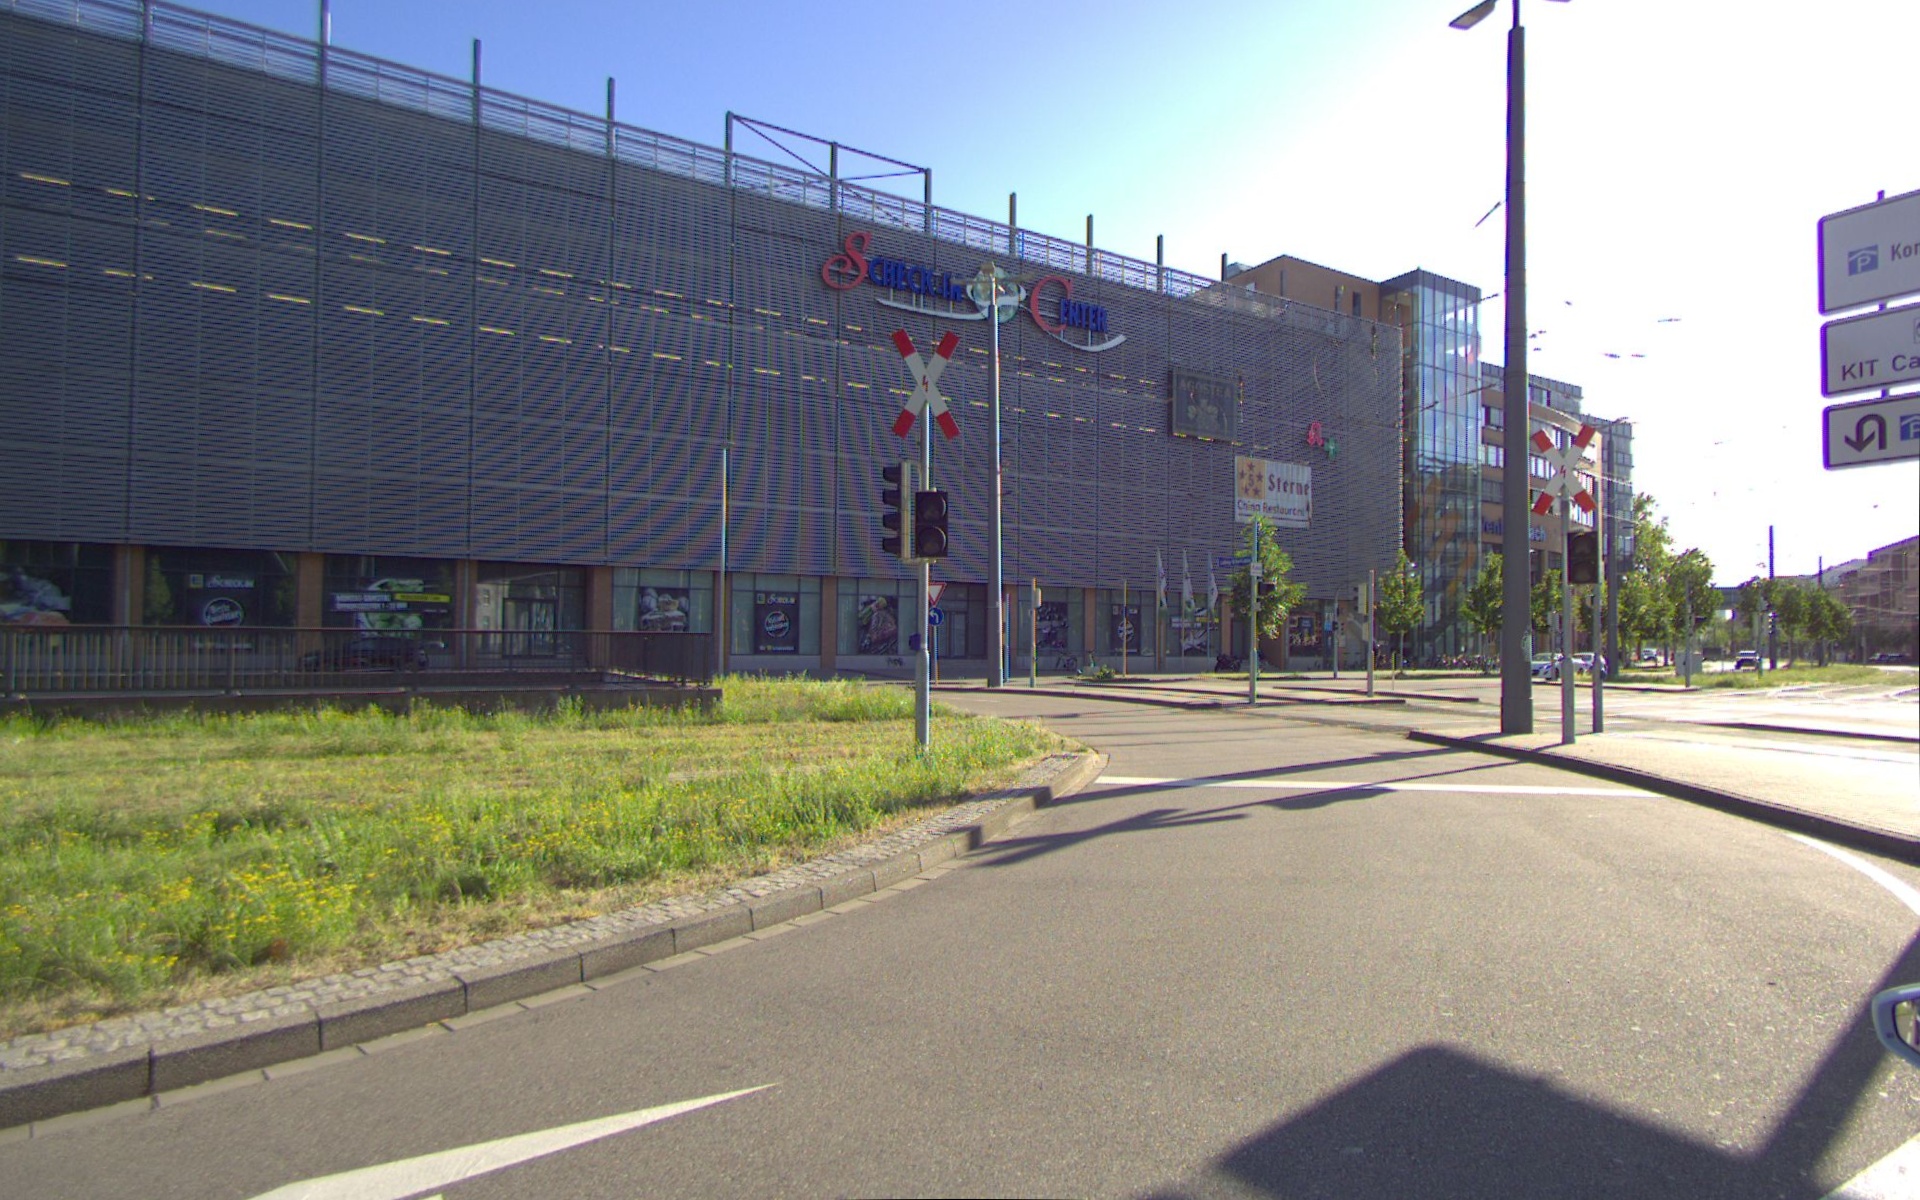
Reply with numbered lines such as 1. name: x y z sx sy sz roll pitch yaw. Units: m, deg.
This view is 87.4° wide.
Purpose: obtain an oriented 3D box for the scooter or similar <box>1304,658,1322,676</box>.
1. scooter or similar: 22.751 4.310 64.745 1.138 1.124 0.419 3 -4 -30

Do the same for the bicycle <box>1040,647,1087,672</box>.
1. bicycle: 5.431 3.110 52.511 2.384 1.236 0.797 2 -2 -27

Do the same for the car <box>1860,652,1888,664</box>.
1. car: 140.973 8.930 154.909 1.963 1.661 4.408 0 -3 26

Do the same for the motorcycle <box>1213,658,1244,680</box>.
1. motorcycle: 15.787 4.050 59.024 1.872 1.254 0.672 3 -4 -31

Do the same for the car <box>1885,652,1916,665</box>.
1. car: 127.834 7.928 136.548 3.951 1.728 1.986 3 -4 -28

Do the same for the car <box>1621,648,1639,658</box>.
1. car: 131.309 10.398 196.829 1.961 2.040 4.000 -1 -3 21

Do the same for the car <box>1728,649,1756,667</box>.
1. car: 73.216 5.416 93.990 1.970 1.661 4.392 -1 -3 39

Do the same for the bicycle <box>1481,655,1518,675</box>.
1. bicycle: 41.835 5.038 77.873 0.891 1.452 2.558 2 -3 -21

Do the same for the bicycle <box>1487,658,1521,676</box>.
1. bicycle: 45.585 5.618 84.211 0.760 1.452 2.604 2 -3 -21

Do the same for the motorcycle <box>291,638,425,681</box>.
1. motorcycle: -21.392 2.095 35.856 3.953 1.472 1.984 2 -3 -30

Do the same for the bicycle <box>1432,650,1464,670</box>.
1. bicycle: 35.931 4.409 74.002 0.848 1.452 2.080 2 -3 -21

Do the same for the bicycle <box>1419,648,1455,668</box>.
1. bicycle: 34.941 4.249 73.613 1.060 1.452 2.367 2 -3 -21

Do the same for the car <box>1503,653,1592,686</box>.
1. car: 30.228 3.542 51.650 4.475 1.566 1.985 2 -2 -29

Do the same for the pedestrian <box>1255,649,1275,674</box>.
1. pedestrian: 19.528 3.929 64.316 0.819 1.586 0.983 3 -4 -30

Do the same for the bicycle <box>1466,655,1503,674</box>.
1. bicycle: 39.774 4.880 76.250 0.891 1.452 2.558 2 -3 -21

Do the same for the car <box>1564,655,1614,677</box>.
1. car: 41.809 4.374 66.717 3.973 1.425 1.876 3 -4 -44

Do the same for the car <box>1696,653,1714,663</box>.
1. car: 125.839 9.811 169.692 1.965 1.706 3.992 -1 -3 31

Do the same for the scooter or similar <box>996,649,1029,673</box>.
1. scooter or similar: 2.782 3.213 53.089 1.555 1.222 0.790 3 -4 -30

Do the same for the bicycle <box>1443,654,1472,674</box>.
1. bicycle: 36.890 4.766 74.507 0.795 1.452 1.975 2 -3 -21

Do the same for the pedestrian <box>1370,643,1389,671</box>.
1. pedestrian: 28.163 3.801 67.401 0.894 1.848 0.823 3 -4 -29
